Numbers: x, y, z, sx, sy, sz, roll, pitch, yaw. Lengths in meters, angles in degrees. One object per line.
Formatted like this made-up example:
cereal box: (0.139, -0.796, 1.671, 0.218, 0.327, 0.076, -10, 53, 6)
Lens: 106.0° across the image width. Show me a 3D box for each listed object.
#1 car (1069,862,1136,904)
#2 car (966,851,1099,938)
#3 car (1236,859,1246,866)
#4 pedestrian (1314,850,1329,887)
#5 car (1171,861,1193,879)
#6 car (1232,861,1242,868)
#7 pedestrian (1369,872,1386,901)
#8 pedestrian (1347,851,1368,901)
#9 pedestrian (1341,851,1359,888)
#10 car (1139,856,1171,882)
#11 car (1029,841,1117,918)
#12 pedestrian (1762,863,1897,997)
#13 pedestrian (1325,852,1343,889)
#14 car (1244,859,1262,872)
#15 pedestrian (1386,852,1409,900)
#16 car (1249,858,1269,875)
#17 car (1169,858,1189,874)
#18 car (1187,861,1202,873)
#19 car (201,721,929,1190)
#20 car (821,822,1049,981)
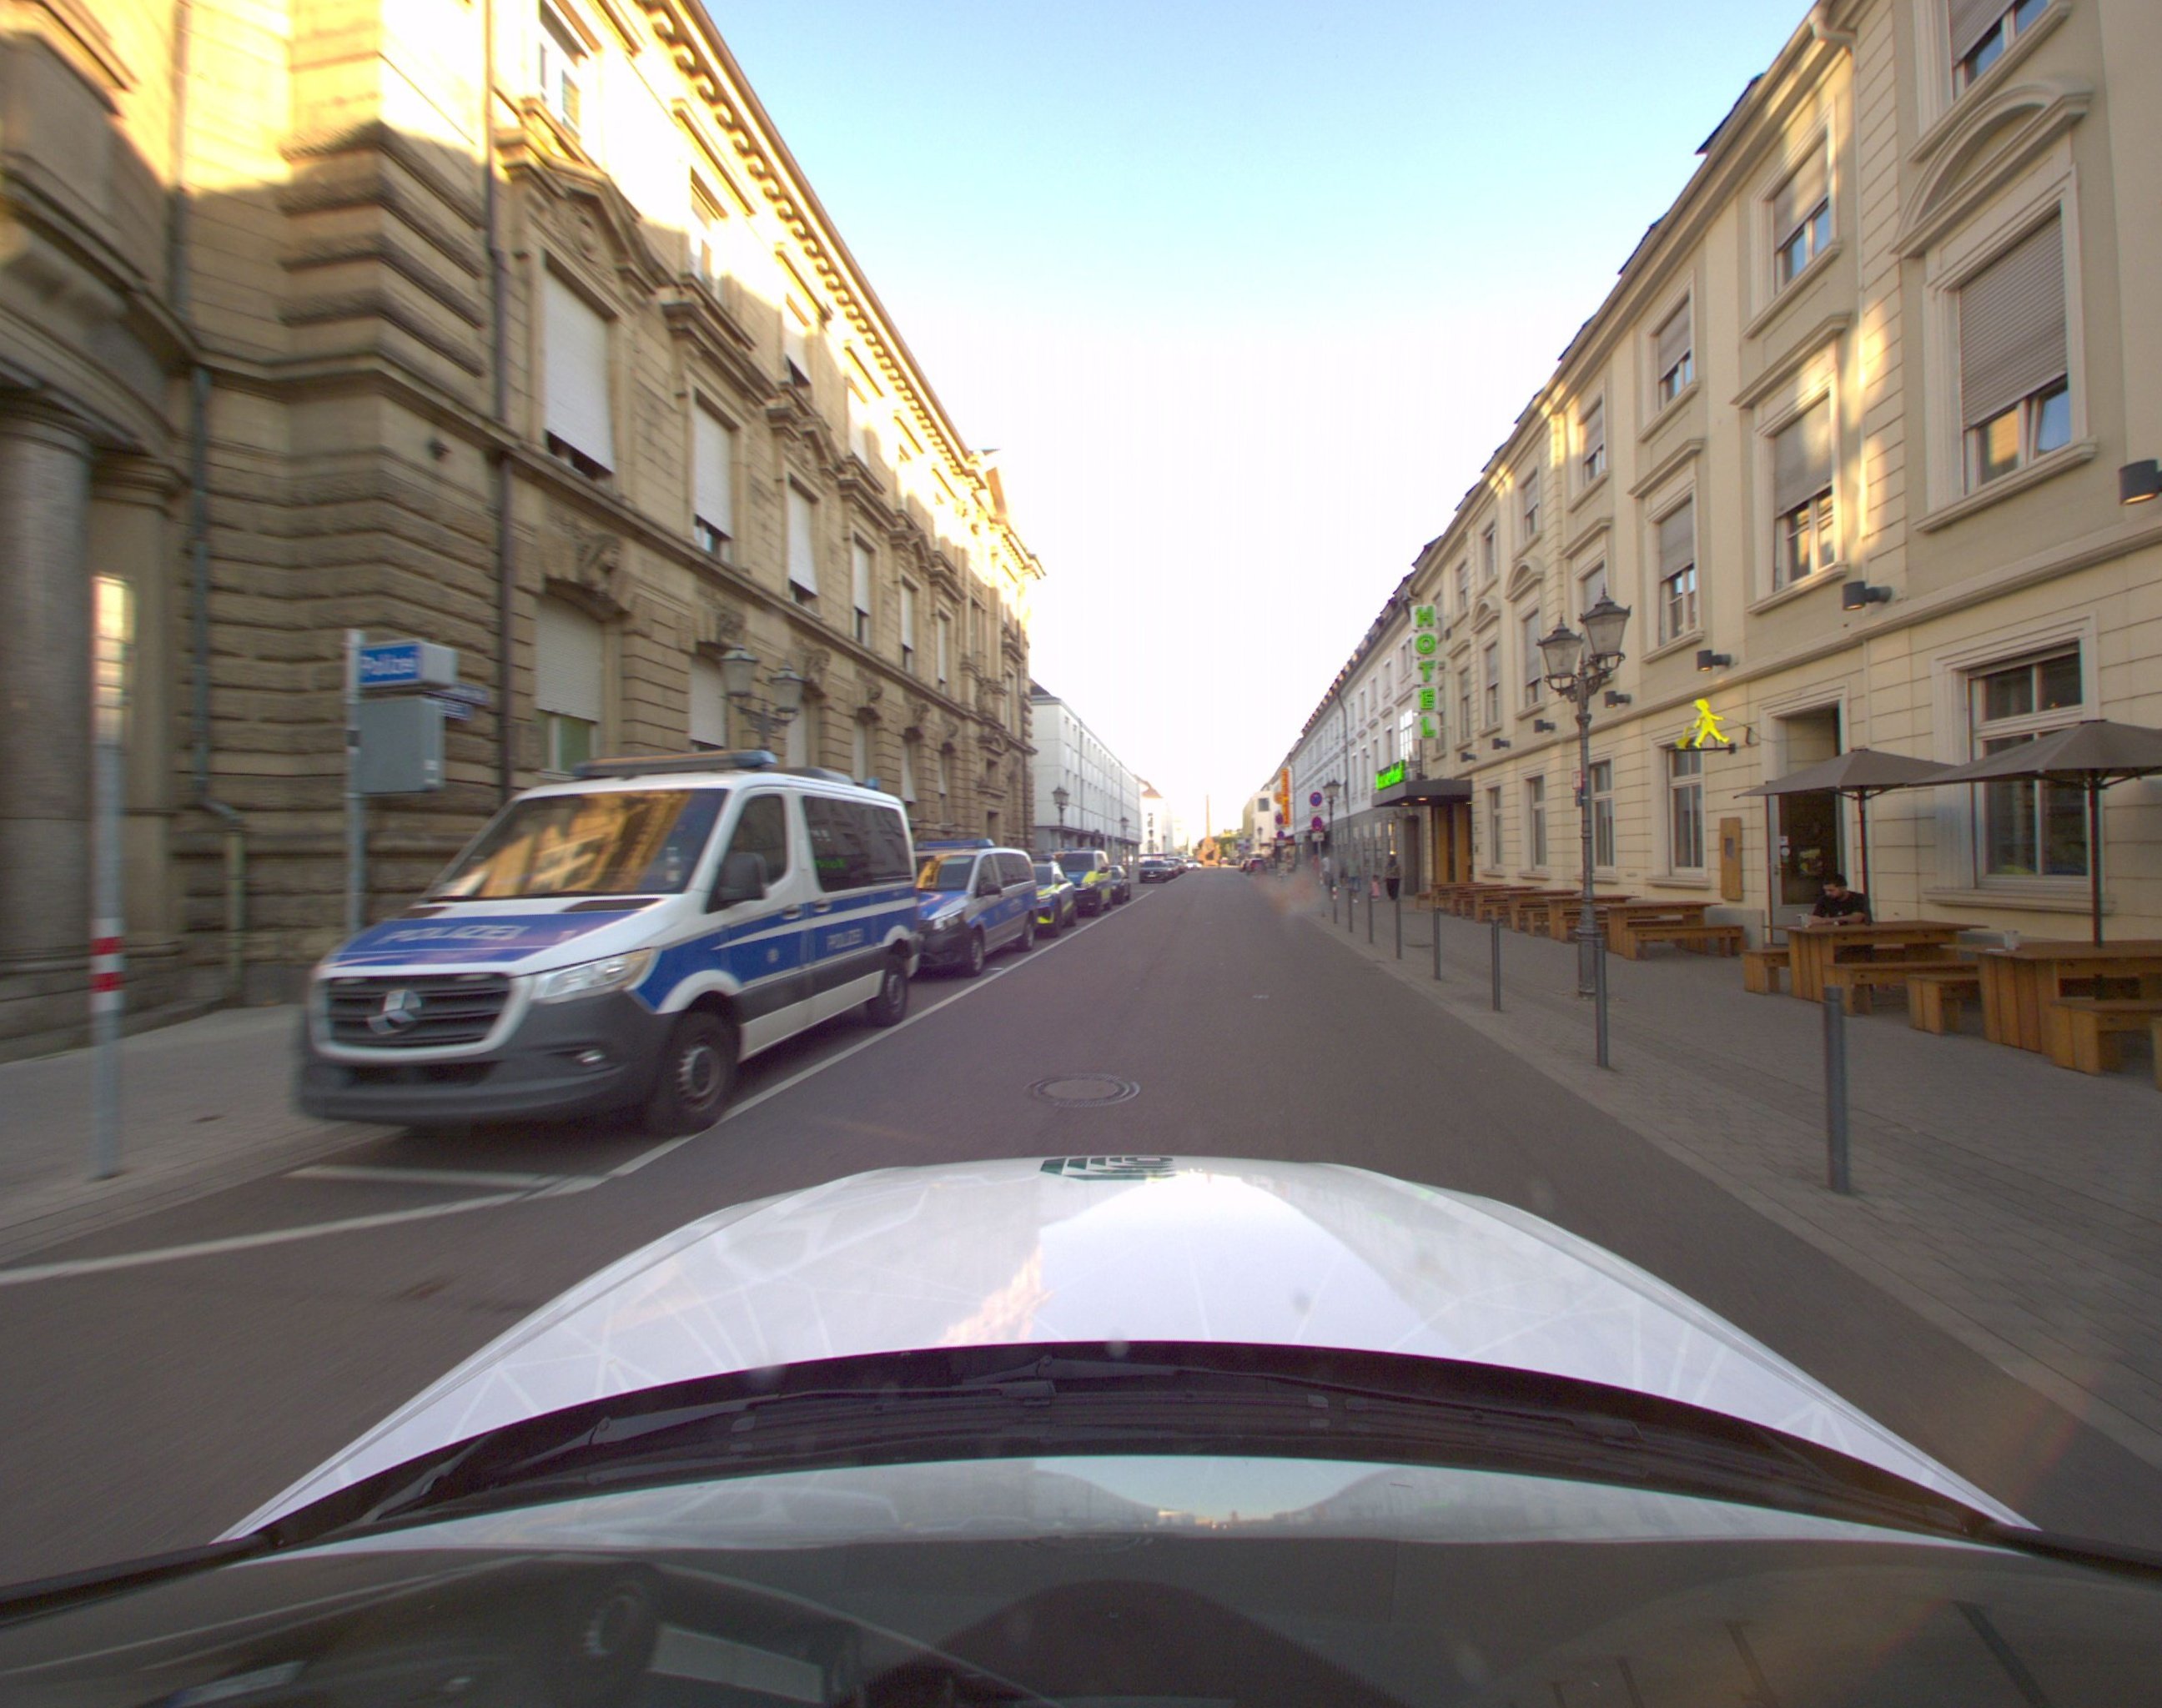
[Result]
car: (0.908, 1.082, 31.765, 1.981, 1.494, 4.176, -2, -1, 10)
car: (-0.955, 0.869, 19.273, 1.981, 1.752, 5.004, -2, -1, 10)
car: (35.561, 1.899, 180.901, 1.981, 1.464, 4.012, -1, -1, 11)
pedestrian: (11.934, 0.724, 40.422, 0.616, 1.789, 0.916, -1, -1, 11)
car: (10.548, 1.614, 84.755, 1.981, 1.728, 4.528, -3, -1, 10)
car: (33.079, 2.146, 172.564, 1.981, 1.464, 4.012, -1, -1, 11)
pedestrian: (10.360, 1.130, 28.492, 0.457, 0.980, 0.560, -1, -1, 11)
pedestrian: (9.696, 0.766, 28.572, 0.603, 1.730, 0.560, -1, -1, 11)
pedestrian: (12.834, 0.741, 38.854, 0.709, 1.730, 0.876, -1, -1, 12)
car: (5.087, 1.005, 55.531, 1.774, 1.615, 4.177, -2, -1, 10)
car: (-0.117, 0.753, 25.054, 1.983, 2.077, 5.000, -2, -1, 7)
pedestrian: (8.052, 0.787, 8.788, 0.774, 1.359, 0.722, -1, -1, -7)
pedestrian: (12.036, 0.769, 38.782, 0.743, 1.730, 0.884, -1, -1, 13)
car: (19.369, 1.310, 91.846, 1.790, 1.464, 4.128, -1, -1, 10)
pedestrian: (10.903, 0.749, 28.059, 0.626, 1.601, 0.616, -1, -1, 11)
car: (17.066, 1.203, 78.148, 1.748, 1.523, 3.687, -1, -1, 10)
car: (11.050, 1.326, 92.021, 1.981, 1.662, 4.011, -1, -1, 10)
car: (15.093, 1.697, 107.791, 1.774, 1.409, 4.100, -2, -1, 10)
car: (-2.998, 0.503, 6.468, 1.983, 2.171, 5.217, -1, -1, 7)
car: (-2.090, 0.681, 13.515, 1.981, 2.088, 5.221, -2, -1, 10)
